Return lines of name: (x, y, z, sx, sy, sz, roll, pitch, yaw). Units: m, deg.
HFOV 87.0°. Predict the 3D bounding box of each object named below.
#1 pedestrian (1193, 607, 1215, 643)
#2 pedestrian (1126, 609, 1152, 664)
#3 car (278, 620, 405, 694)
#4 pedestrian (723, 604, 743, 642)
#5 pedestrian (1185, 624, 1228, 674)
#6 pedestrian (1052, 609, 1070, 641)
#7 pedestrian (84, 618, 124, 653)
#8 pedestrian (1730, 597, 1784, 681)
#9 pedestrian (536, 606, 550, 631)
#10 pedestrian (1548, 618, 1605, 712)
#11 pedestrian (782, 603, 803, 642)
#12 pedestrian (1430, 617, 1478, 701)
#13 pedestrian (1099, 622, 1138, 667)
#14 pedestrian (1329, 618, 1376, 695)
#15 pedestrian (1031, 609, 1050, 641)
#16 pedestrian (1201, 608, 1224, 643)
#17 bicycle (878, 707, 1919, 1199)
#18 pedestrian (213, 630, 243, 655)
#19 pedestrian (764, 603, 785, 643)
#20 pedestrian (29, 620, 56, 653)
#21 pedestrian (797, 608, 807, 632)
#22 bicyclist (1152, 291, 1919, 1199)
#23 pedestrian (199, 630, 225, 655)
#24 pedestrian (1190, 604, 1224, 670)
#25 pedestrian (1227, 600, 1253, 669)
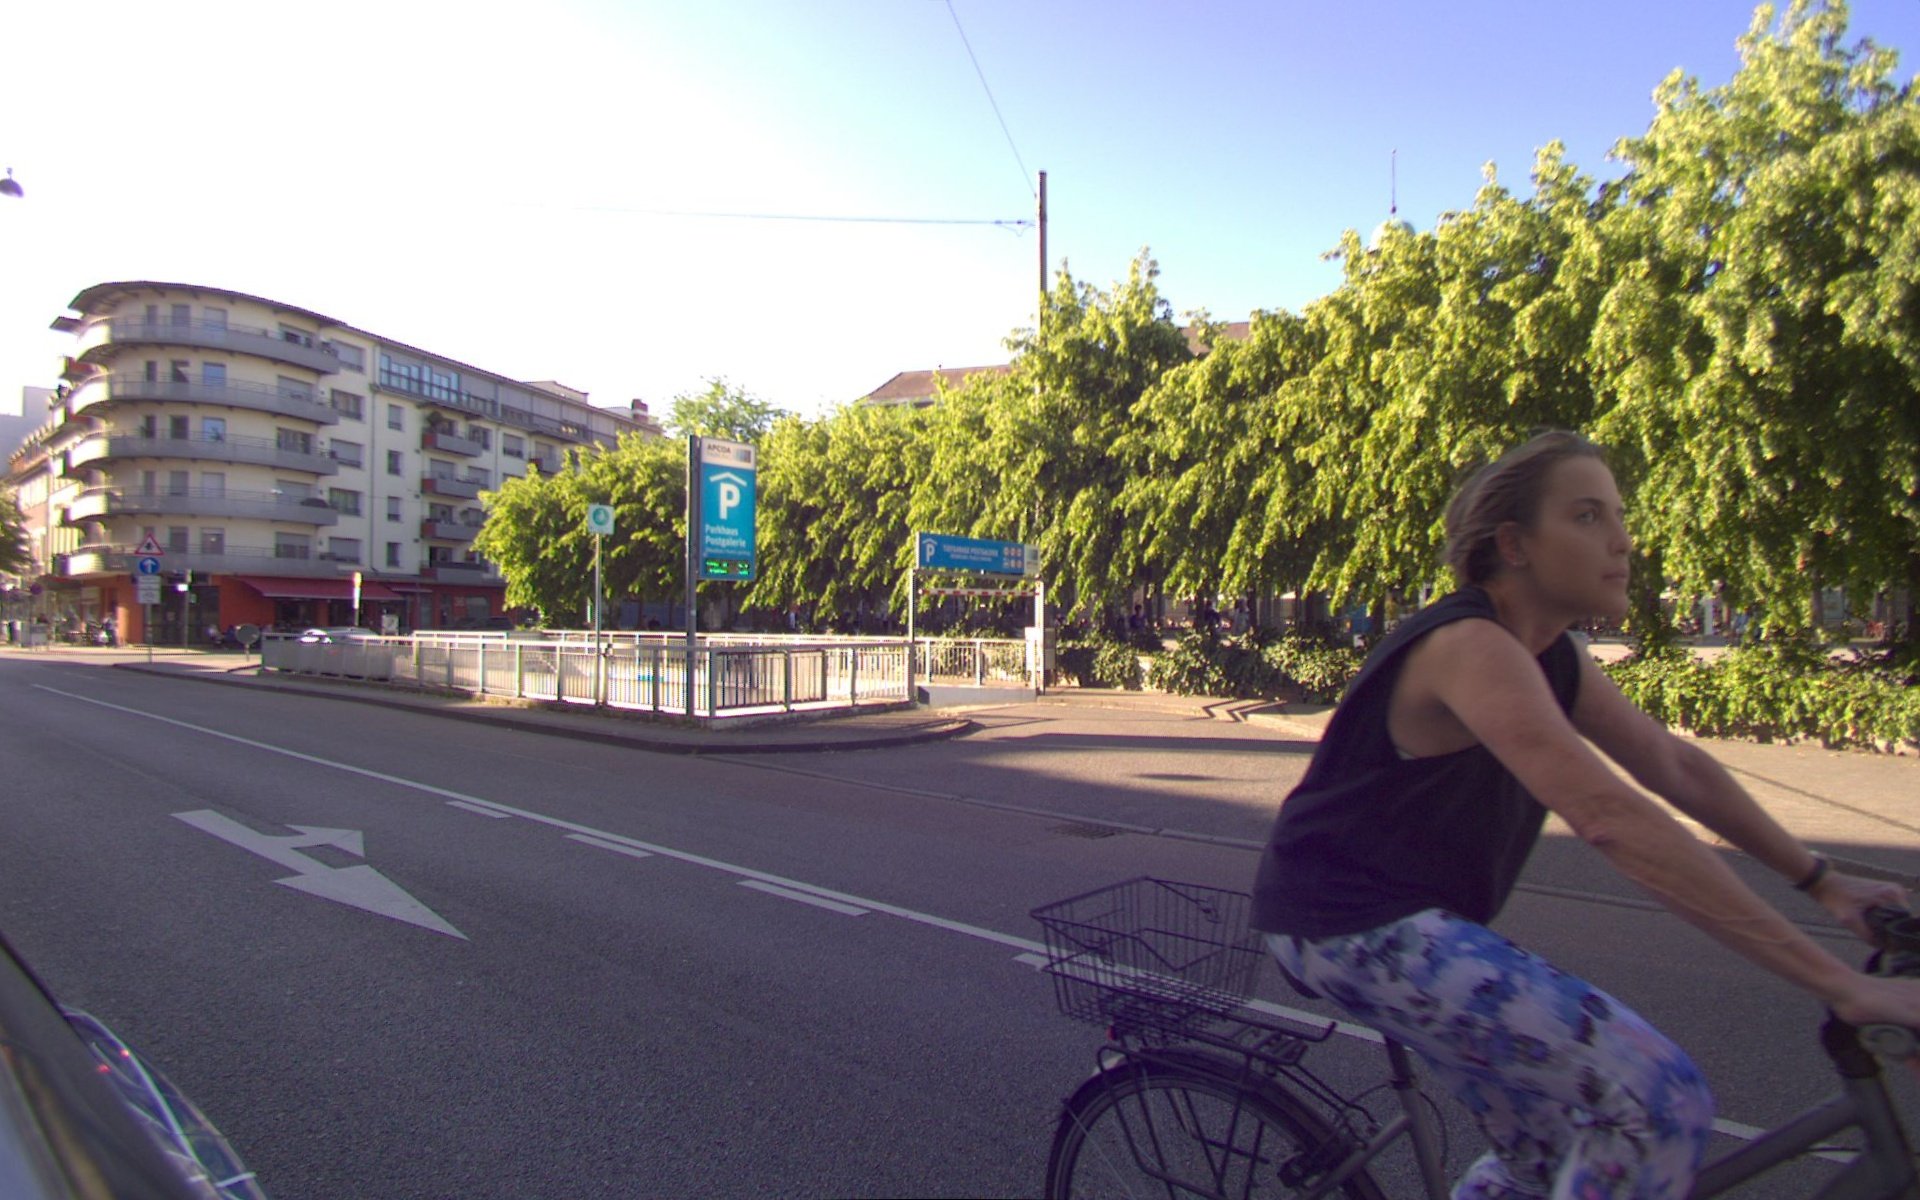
pedestrian: (10.877, 1.106, 45.134, 0.672, 1.542, 0.696, -1, 0, -29)
pedestrian: (4.598, 0.932, 26.022, 0.545, 1.385, 0.680, -1, 0, 19)
car: (-16.643, 1.461, 27.158, 4.248, 1.542, 1.654, 4, 2, 41)
pedestrian: (-11.279, 1.125, 50.366, 0.679, 1.857, 0.743, -1, 0, 19)
pedestrian: (5.453, 1.074, 22.400, 0.682, 1.079, 0.686, -1, 0, -13)
pedestrian: (4.465, 1.108, 44.827, 0.684, 1.385, 0.684, -1, 0, 1)
pedestrian: (-42.292, 1.761, 50.020, 1.266, 1.678, 1.129, -1, 0, 27)
pedestrian: (15.007, 0.722, 19.068, 0.691, 1.532, 0.677, -1, 0, 30)
pedestrian: (-31.371, 1.402, 76.113, 0.684, 1.857, 0.737, -1, 0, 41)
pedestrian: (9.798, 1.014, 16.099, 0.611, 1.447, 0.588, -1, 0, 14)
pedestrian: (-8.224, 1.102, 49.752, 0.681, 1.857, 0.741, -1, 0, 27)
pedestrian: (8.742, 1.027, 17.908, 0.621, 1.447, 0.645, -1, 0, 39)
pedestrian: (3.957, 1.093, 25.258, 0.682, 1.079, 0.686, -1, 0, -29)
pedestrian: (7.515, 1.062, 19.355, 0.622, 1.409, 0.644, -1, 0, 44)
pedestrian: (3.570, 1.120, 44.864, 0.752, 1.385, 0.684, -1, 0, 1)
pedestrian: (11.078, 1.106, 44.431, 0.673, 1.536, 0.695, -1, 0, -35)
bicycle: (0.803, 0.851, 1.368, 2.000, 1.232, 0.621, -1, 0, 43)
pedestrian: (-36.826, 2.127, 50.908, 0.827, 1.207, 0.931, -1, 0, 16)
pedestrian: (-8.993, 1.102, 48.995, 0.681, 1.877, 0.741, -1, 0, 27)
pedestrian: (-51.707, 2.046, 57.037, 0.962, 1.762, 1.047, -1, 0, 41)
pedestrian: (-10.734, 1.373, 68.660, 0.489, 1.591, 0.491, -1, 0, 16)
bicyclist: (0.834, 0.473, 1.334, 0.958, 1.495, 0.599, -1, 0, 42)
pedestrian: (-37.647, 2.138, 50.953, 0.882, 1.207, 0.772, -1, 0, 30)
pedestrian: (5.809, 0.853, 23.773, 0.688, 1.511, 0.680, -1, 0, 19)
pedestrian: (6.578, 0.801, 23.779, 0.522, 1.594, 0.680, -1, 0, 19)
